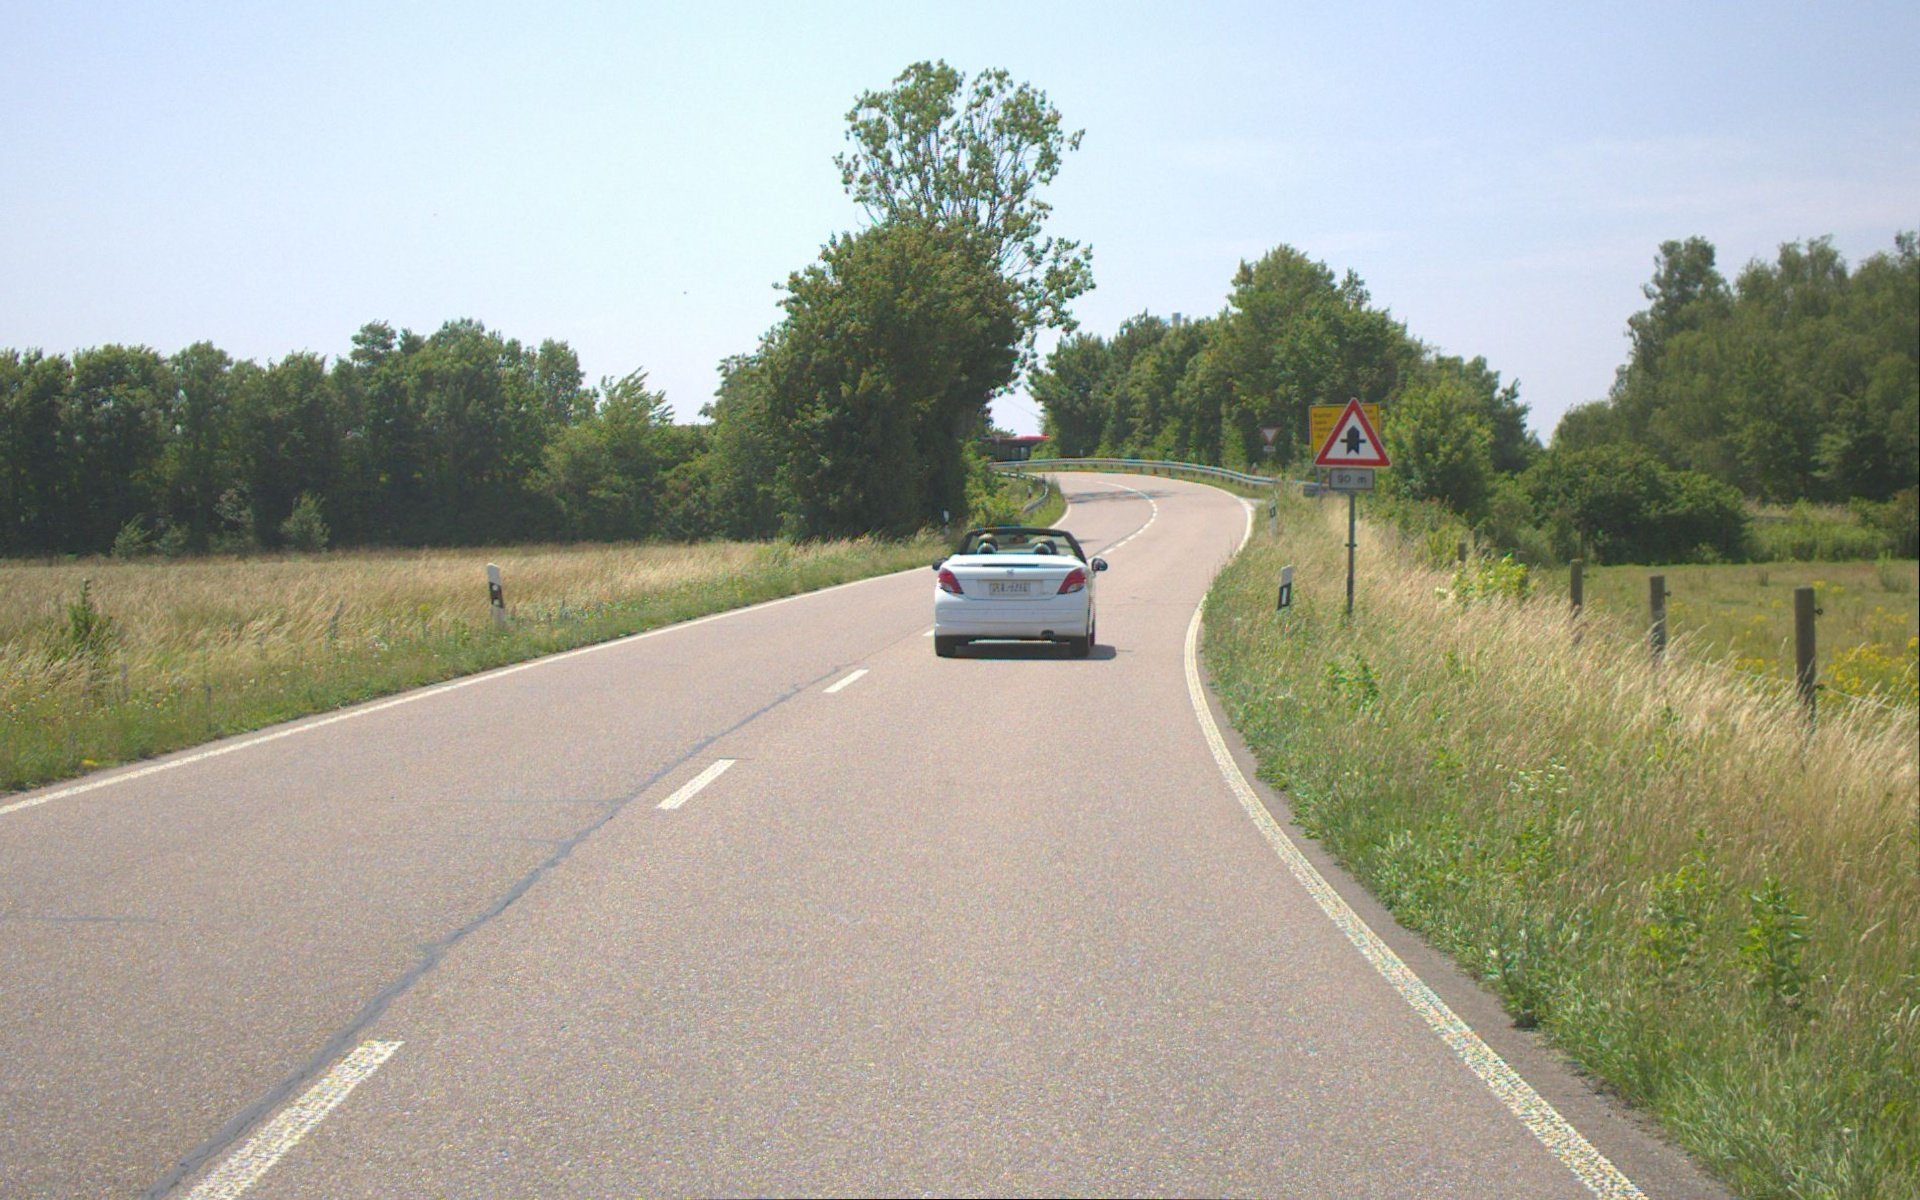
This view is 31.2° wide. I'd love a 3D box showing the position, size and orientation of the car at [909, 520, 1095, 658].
[{"bbox_3d":[0.526,-0.159,38.500,1.851,1.374,4.000,0,3,4],"label":"car"}]
